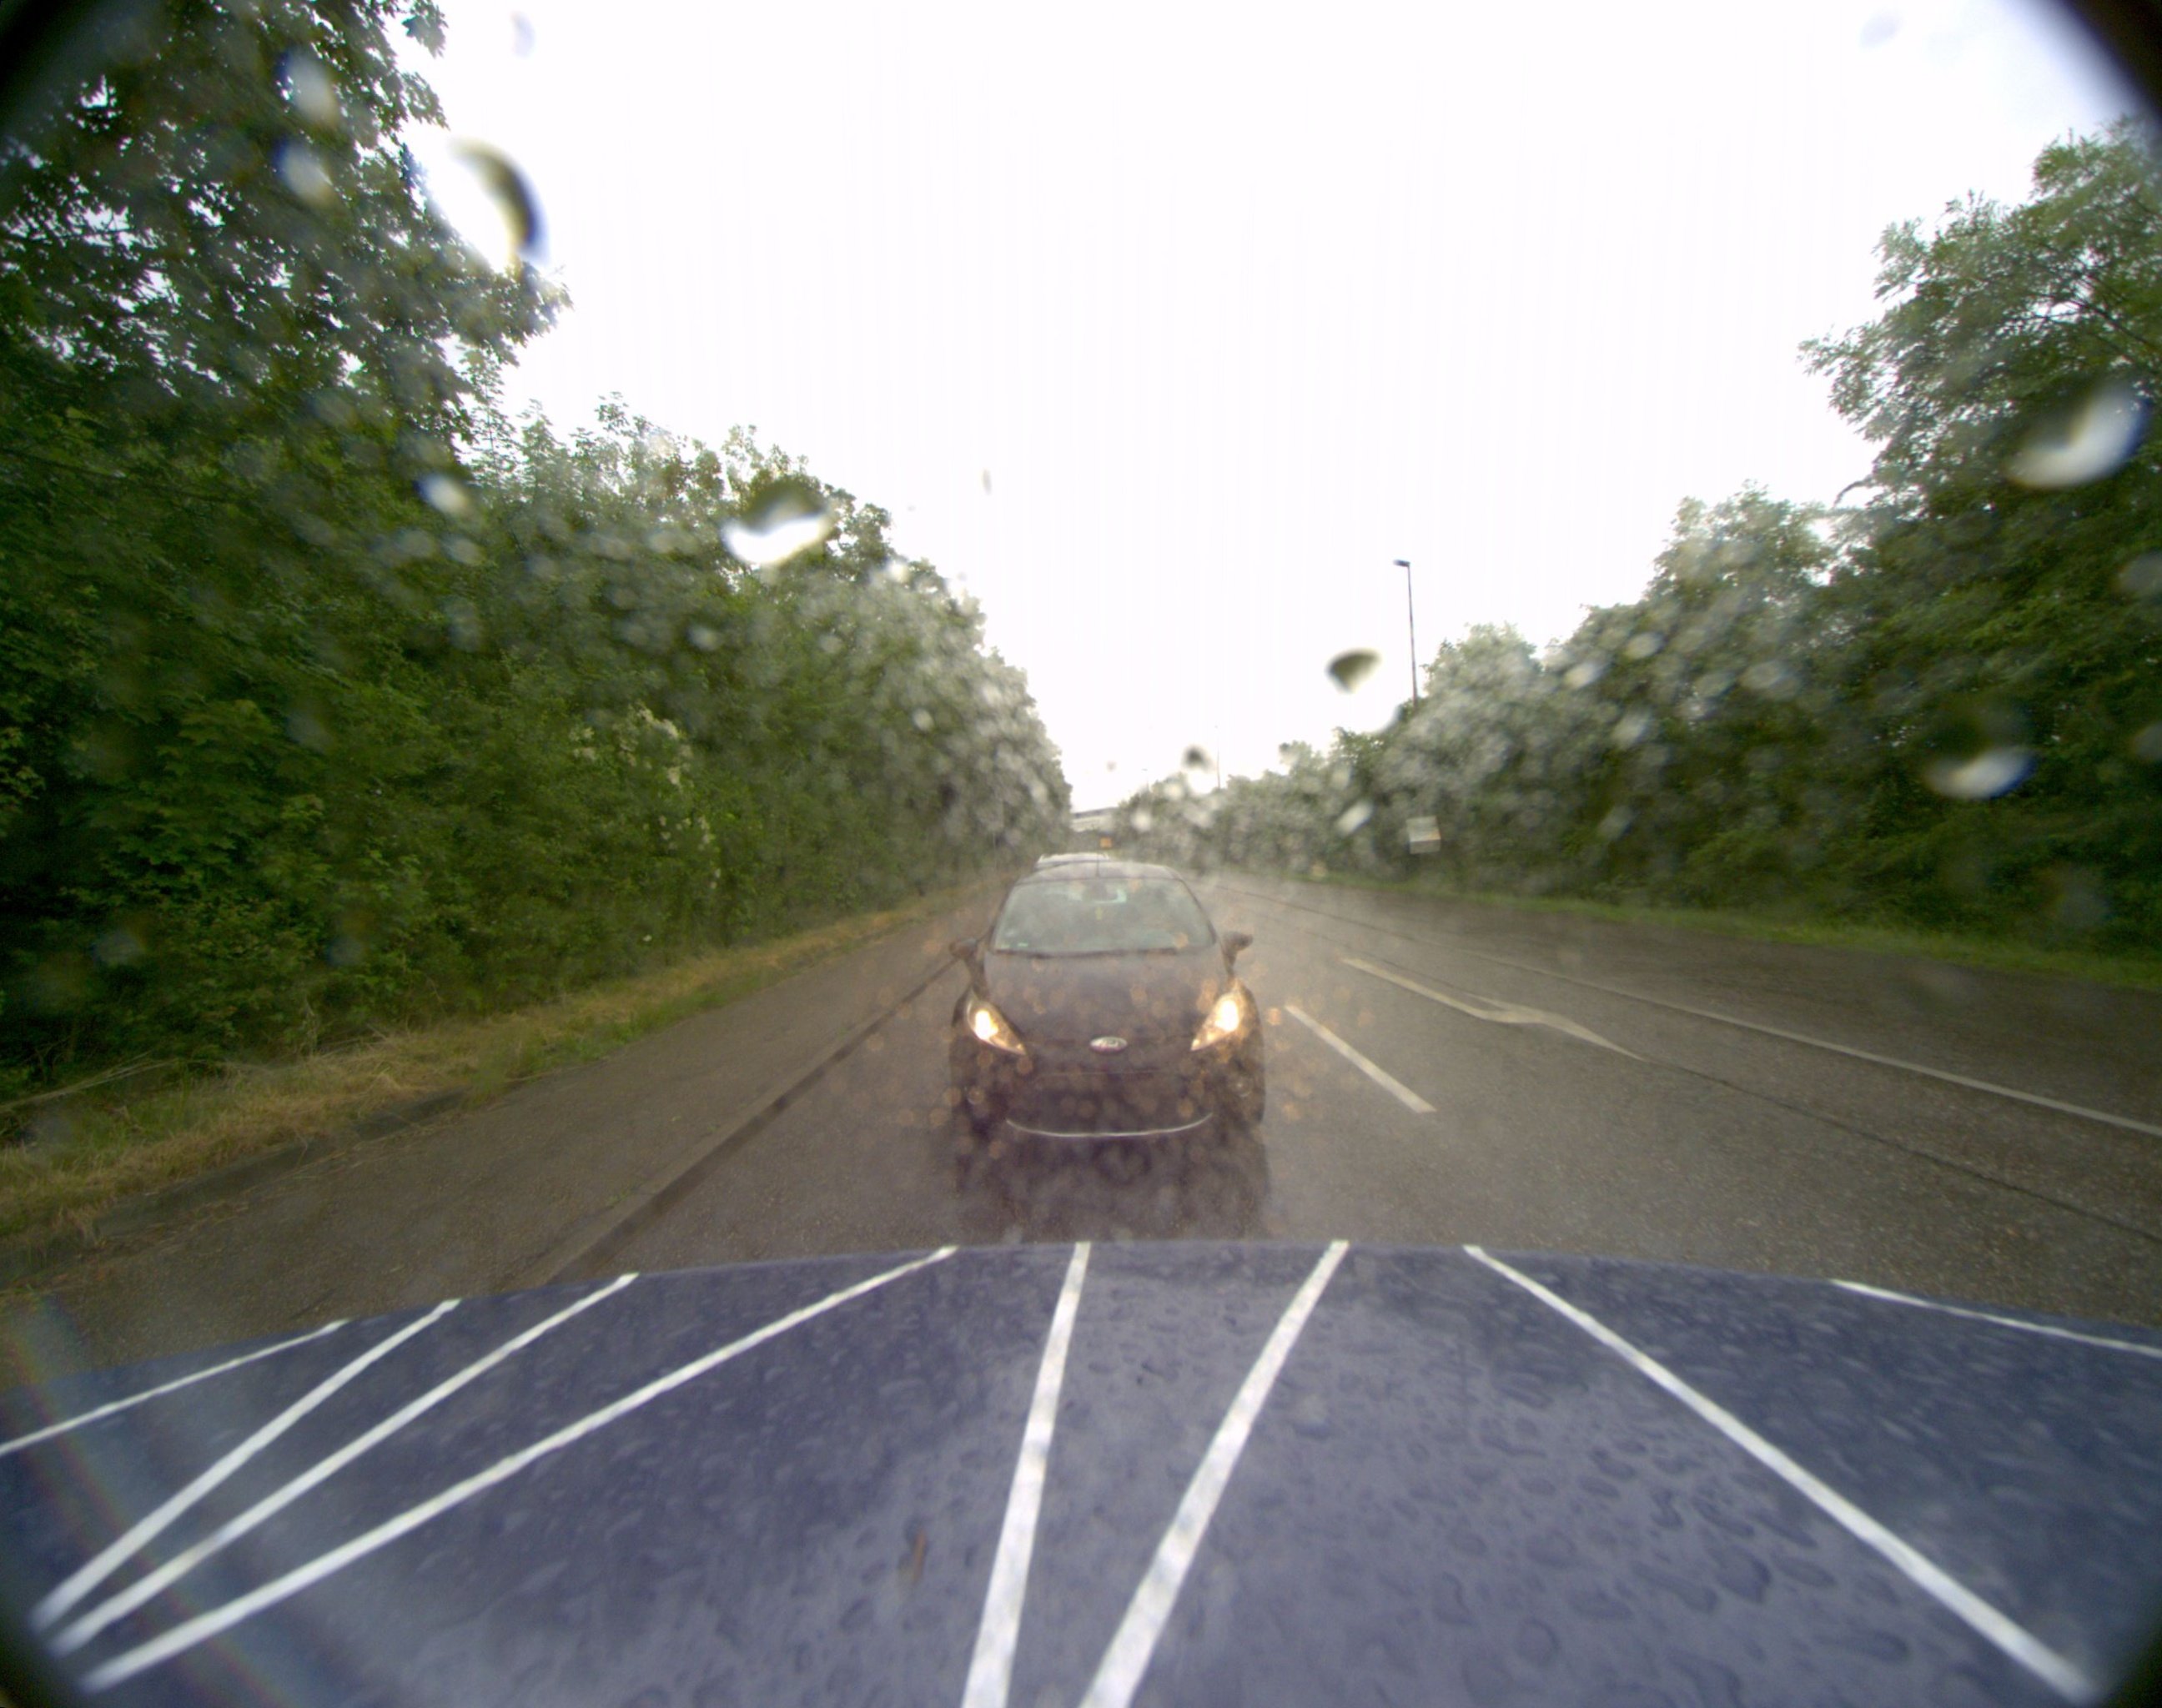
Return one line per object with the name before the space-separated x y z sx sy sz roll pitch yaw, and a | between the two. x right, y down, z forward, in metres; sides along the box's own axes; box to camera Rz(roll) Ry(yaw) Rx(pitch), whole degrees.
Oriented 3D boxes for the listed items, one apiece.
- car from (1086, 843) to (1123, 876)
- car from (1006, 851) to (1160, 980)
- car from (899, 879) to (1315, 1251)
car | 1.326 0.316 43.998 1.998 1.778 4.000 -2 0 0
car | 0.046 0.818 12.109 1.998 1.576 3.999 -2 1 1
car | 0.147 1.035 5.614 1.839 1.404 4.342 -2 1 1
